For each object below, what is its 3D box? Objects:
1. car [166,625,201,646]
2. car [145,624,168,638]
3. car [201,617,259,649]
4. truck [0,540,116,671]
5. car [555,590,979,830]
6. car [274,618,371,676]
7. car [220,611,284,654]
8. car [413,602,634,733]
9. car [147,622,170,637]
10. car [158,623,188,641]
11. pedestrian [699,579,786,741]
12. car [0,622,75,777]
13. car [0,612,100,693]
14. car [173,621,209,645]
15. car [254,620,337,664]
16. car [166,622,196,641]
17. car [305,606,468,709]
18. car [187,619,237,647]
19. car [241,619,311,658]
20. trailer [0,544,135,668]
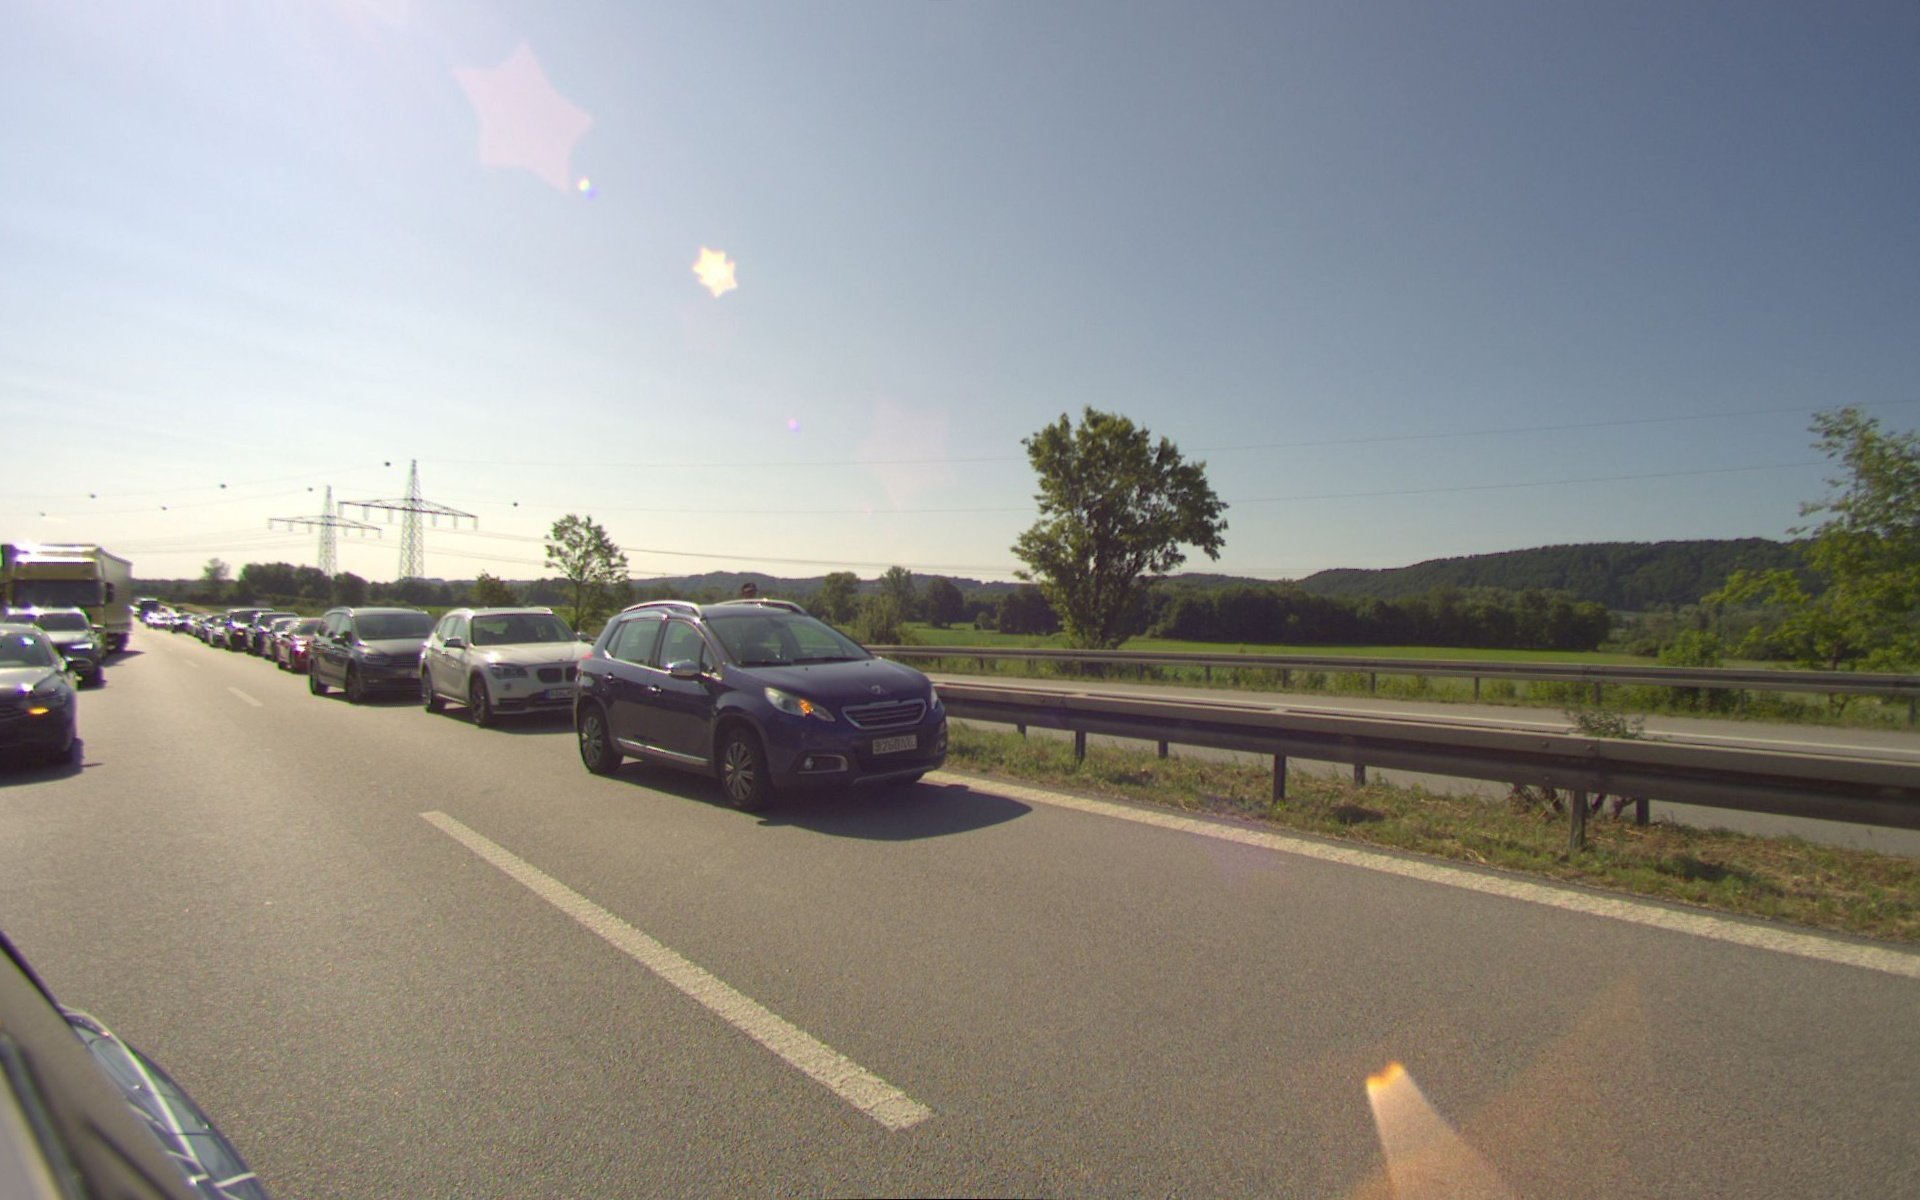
[{"bbox_3d":[-55.432,2.517,72.241,1.792,1.470,4.124,1,-2,-40],"label":"car"},{"bbox_3d":[-84.709,3.257,106.686,1.792,1.470,4.125,1,-2,-39],"label":"car"},{"bbox_3d":[-36.119,1.601,50.050,1.969,1.542,4.006,1,-2,-41],"label":"car"},{"bbox_3d":[-31.860,0.190,35.466,3.282,4.144,6.983,-1,0,-38],"label":"truck"},{"bbox_3d":[-1.823,0.742,8.627,1.668,1.546,3.952,-1,0,-43],"label":"car"},{"bbox_3d":[-17.606,1.236,27.880,1.792,1.470,4.125,1,-2,-39],"label":"car"},{"bbox_3d":[-31.317,1.417,44.707,1.874,1.801,4.206,1,-2,-41],"label":"car"},{"bbox_3d":[-6.352,0.861,14.467,1.805,1.586,4.170,0,-1,-40],"label":"car"},{"bbox_3d":[-81.066,2.979,102.369,1.792,1.470,4.125,-1,0,-39],"label":"car"},{"bbox_3d":[-67.662,2.720,86.983,1.792,1.470,4.124,-1,0,-40],"label":"car"},{"bbox_3d":[-2.491,0.662,11.564,0.662,1.763,0.816,1,-2,-40],"label":"pedestrian"},{"bbox_3d":[-10.582,0.965,10.732,1.691,1.424,4.332,-1,-1,-40],"label":"car"},{"bbox_3d":[-20.572,1.120,22.875,1.691,1.636,4.332,-1,-1,-40],"label":"car"},{"bbox_3d":[-51.115,2.180,67.254,1.792,1.470,4.125,-1,0,-39],"label":"car"},{"bbox_3d":[-22.898,1.394,34.822,1.867,1.409,4.006,1,-2,-41],"label":"car"},{"bbox_3d":[-62.085,2.506,80.652,1.792,1.470,4.125,1,-2,-39],"label":"car"},{"bbox_3d":[-10.486,0.961,18.376,1.793,1.628,4.123,-1,0,-41],"label":"car"},{"bbox_3d":[-42.224,1.845,57.071,1.969,1.542,4.006,1,-2,-41],"label":"car"},{"bbox_3d":[-26.757,1.467,39.549,1.865,1.466,4.006,1,-2,-40],"label":"car"},{"bbox_3d":[-35.500,0.237,40.390,3.335,4.144,13.984,-1,0,-37],"label":"trailer"}]
